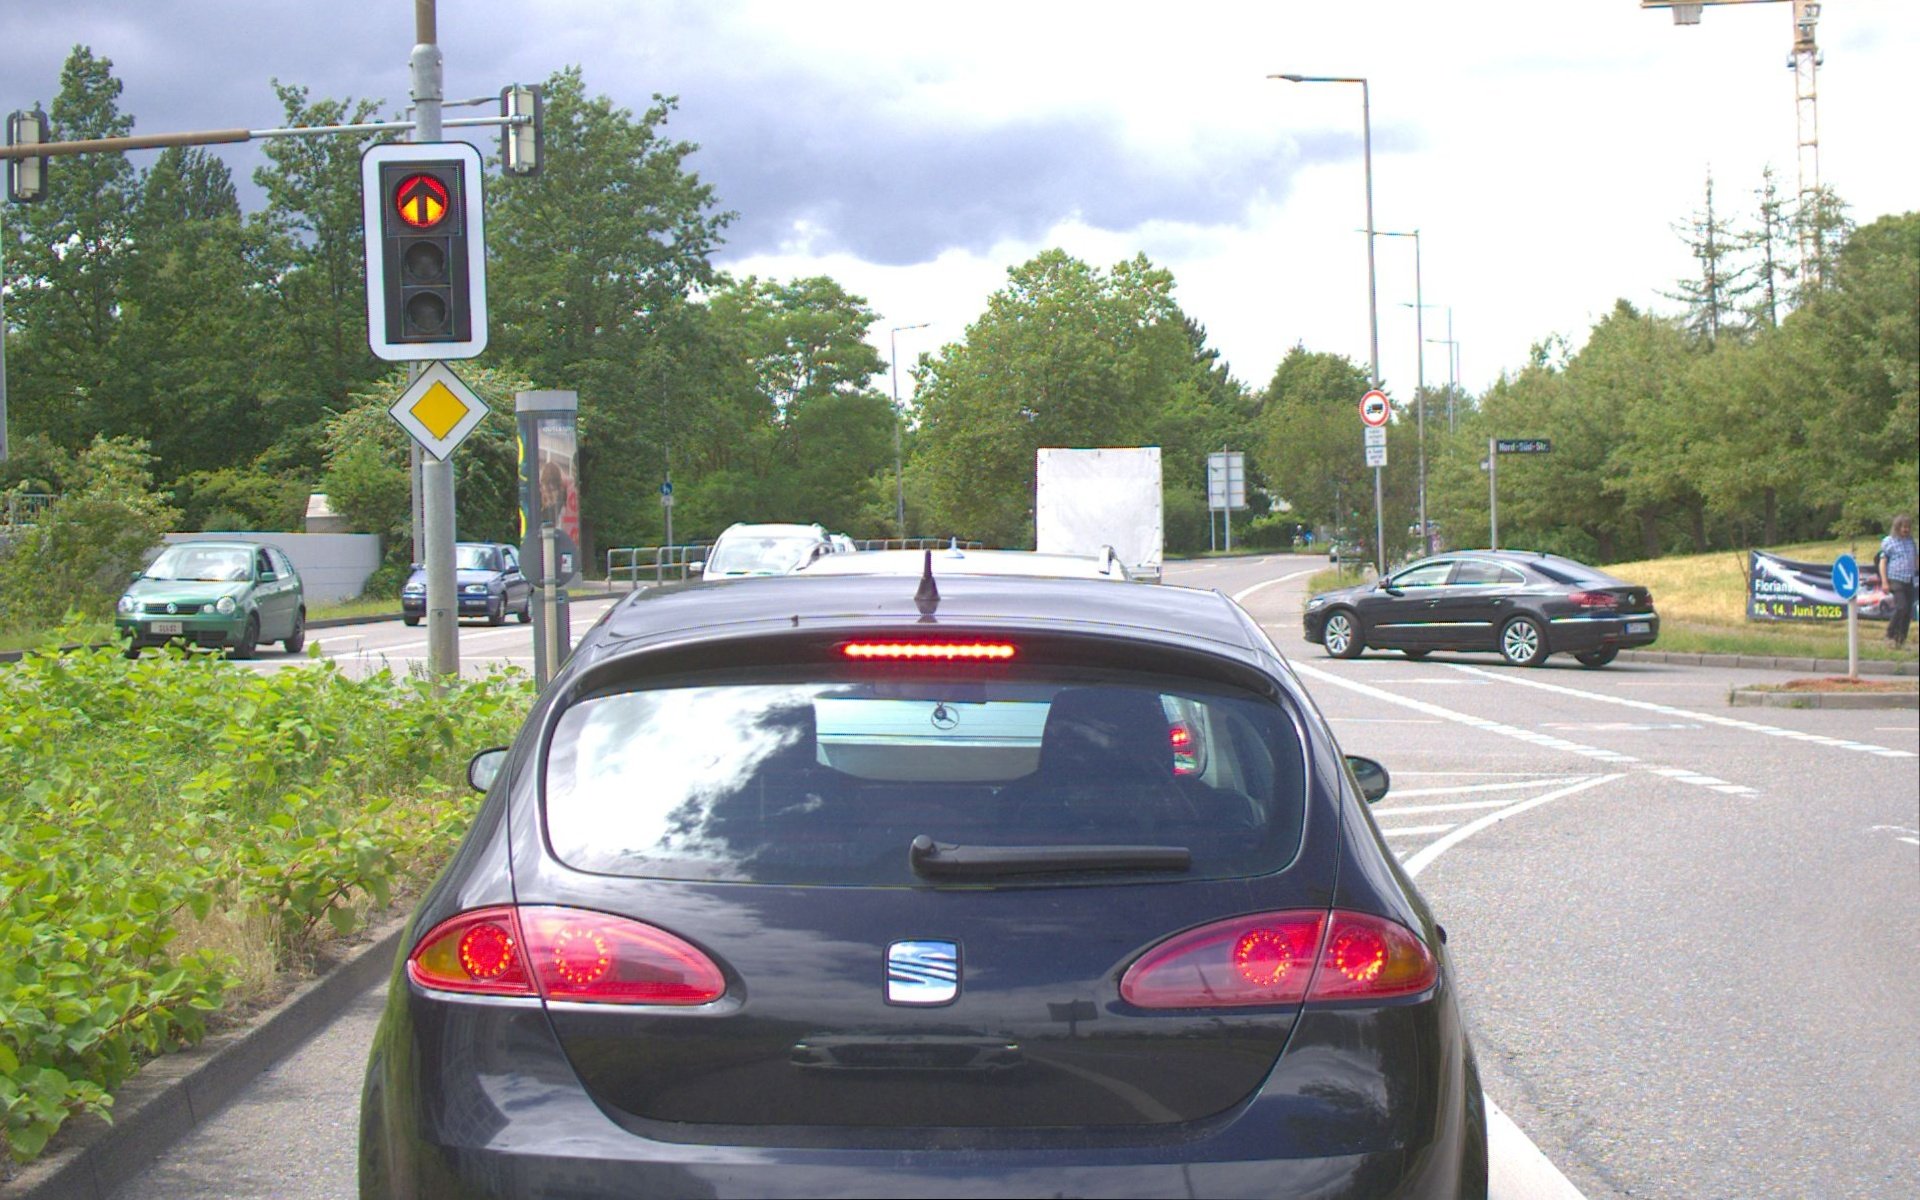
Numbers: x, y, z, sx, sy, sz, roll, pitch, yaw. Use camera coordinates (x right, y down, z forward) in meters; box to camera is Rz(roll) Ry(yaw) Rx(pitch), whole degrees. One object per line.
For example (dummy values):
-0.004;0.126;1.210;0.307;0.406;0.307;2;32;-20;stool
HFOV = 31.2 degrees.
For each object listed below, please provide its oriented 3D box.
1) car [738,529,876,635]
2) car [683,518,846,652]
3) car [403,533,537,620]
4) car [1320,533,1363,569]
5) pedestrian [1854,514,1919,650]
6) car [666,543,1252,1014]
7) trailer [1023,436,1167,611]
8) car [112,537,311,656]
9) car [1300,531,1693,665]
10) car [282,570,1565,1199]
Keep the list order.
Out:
-2.293;-0.303;52.281;1.660;1.513;4.084;1;1;3;car
-2.574;-0.249;46.203;1.820;1.681;4.645;1;1;1;car
-8.391;-0.429;59.135;1.554;1.414;3.895;0;1;3;car
17.444;-2.238;157.005;1.668;1.590;3.998;1;1;10;car
12.541;-0.239;45.736;0.718;1.786;1.044;1;0;-27;pedestrian
0.016;0.545;12.747;1.834;1.462;3.751;1;1;1;car
2.475;-1.376;63.304;2.491;3.063;5.587;1;1;2;trailer
-9.416;-0.080;43.481;1.605;1.427;3.752;0;1;2;car
6.692;-0.056;43.152;4.467;1.560;1.995;2;1;40;car
-0.066;0.680;6.342;1.711;1.412;3.459;1;1;0;car
